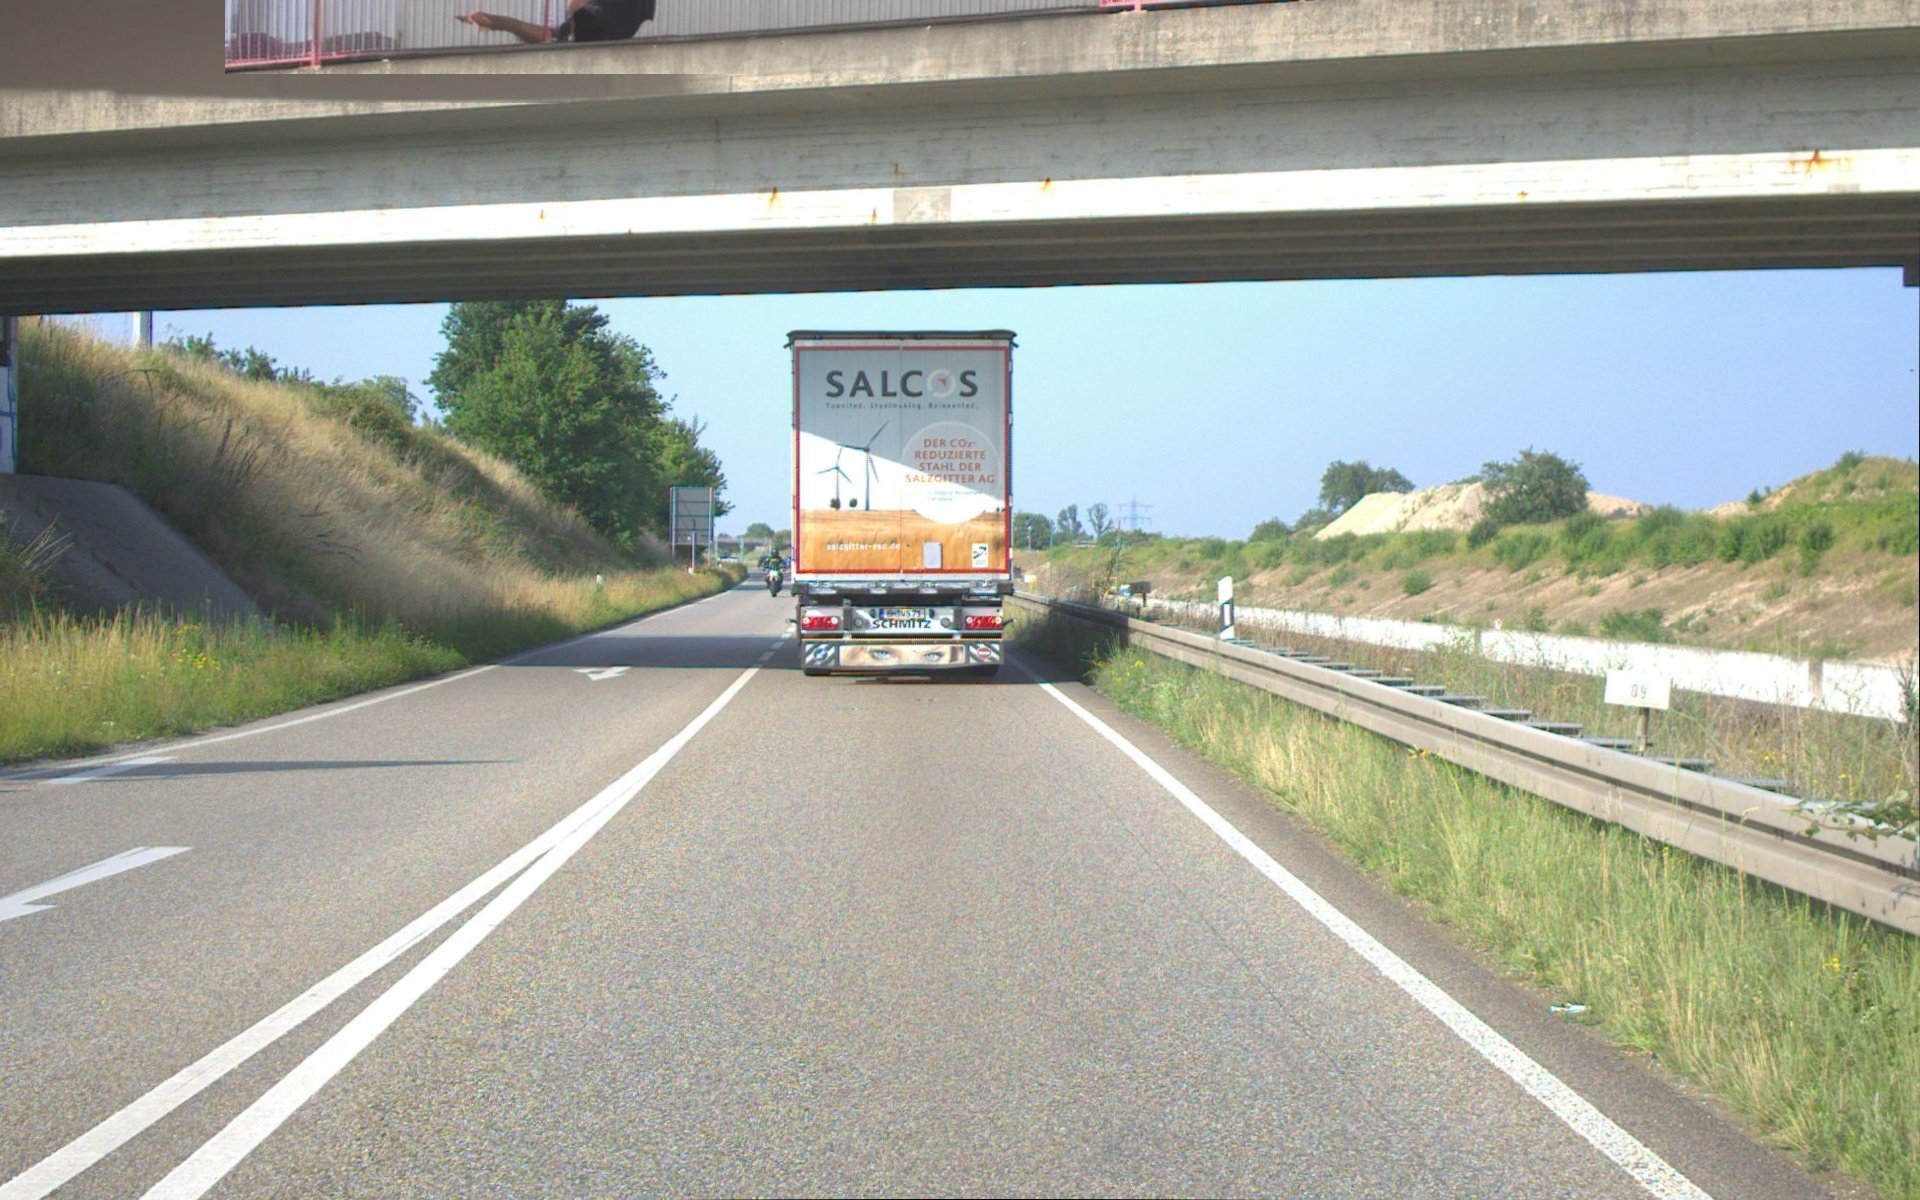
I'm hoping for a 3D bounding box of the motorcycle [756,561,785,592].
[{"bbox_3d":[-6.745,-0.845,122.273,1.041,1.113,2.132,0,1,-3],"label":"motorcycle"}]

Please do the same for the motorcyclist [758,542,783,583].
[{"bbox_3d":[-6.749,-1.338,122.224,0.879,1.446,1.284,0,1,-3],"label":"motorcyclist"}]

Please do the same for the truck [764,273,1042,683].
[{"bbox_3d":[-0.891,-1.437,43.536,3.152,4.672,8.442,0,1,-3],"label":"truck"}]
